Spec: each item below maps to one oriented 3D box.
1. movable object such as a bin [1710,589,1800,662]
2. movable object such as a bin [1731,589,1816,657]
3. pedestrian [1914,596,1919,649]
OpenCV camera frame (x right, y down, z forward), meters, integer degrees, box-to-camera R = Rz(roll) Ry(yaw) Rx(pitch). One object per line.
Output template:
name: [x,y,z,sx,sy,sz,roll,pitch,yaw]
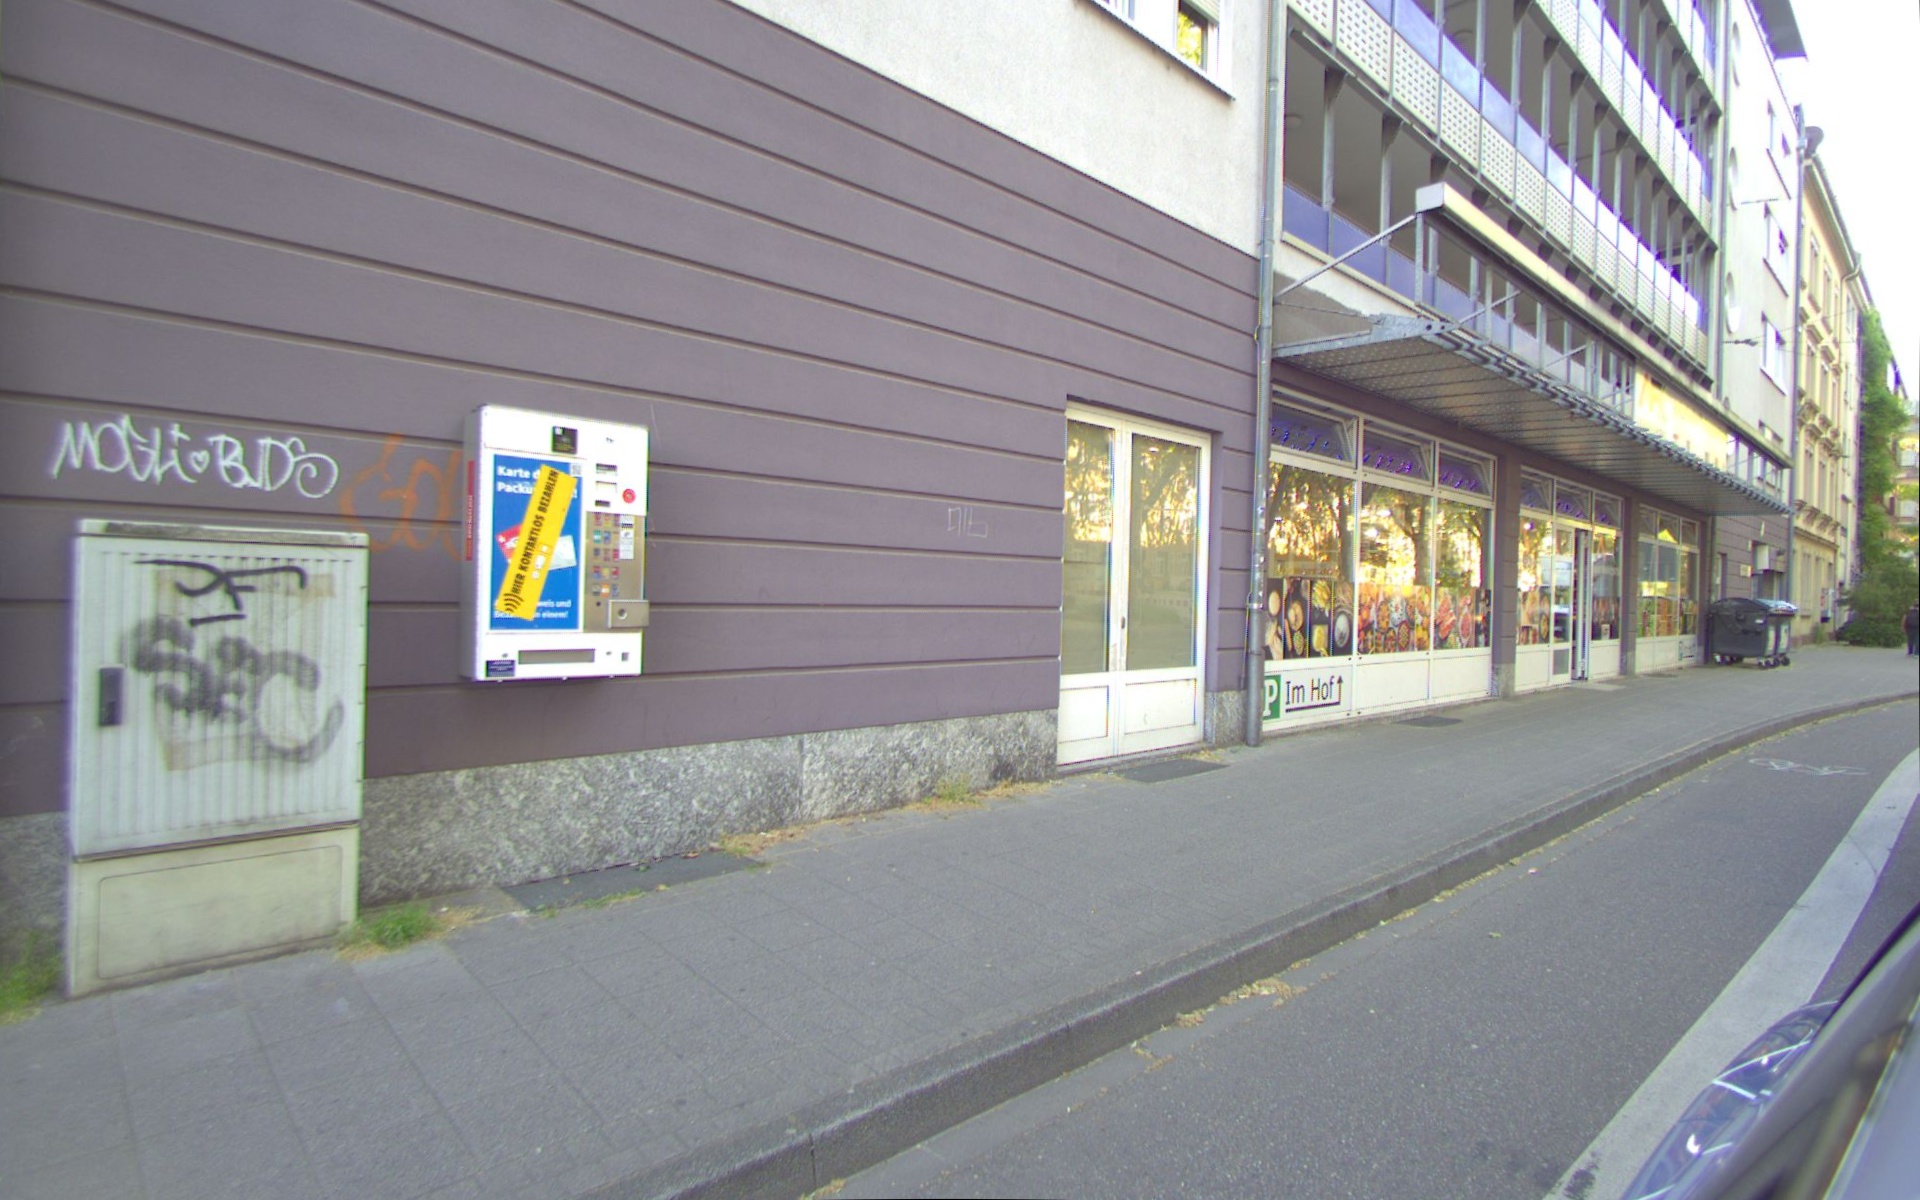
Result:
movable object such as a bin: [16.418,0.503,20.898,1.348,1.427,1.203,1,1,-41]
movable object such as a bin: [17.867,0.482,22.226,1.348,1.427,1.203,1,1,-41]
pedestrian: [26.889,0.633,28.056,0.619,1.463,0.540,1,1,-41]
